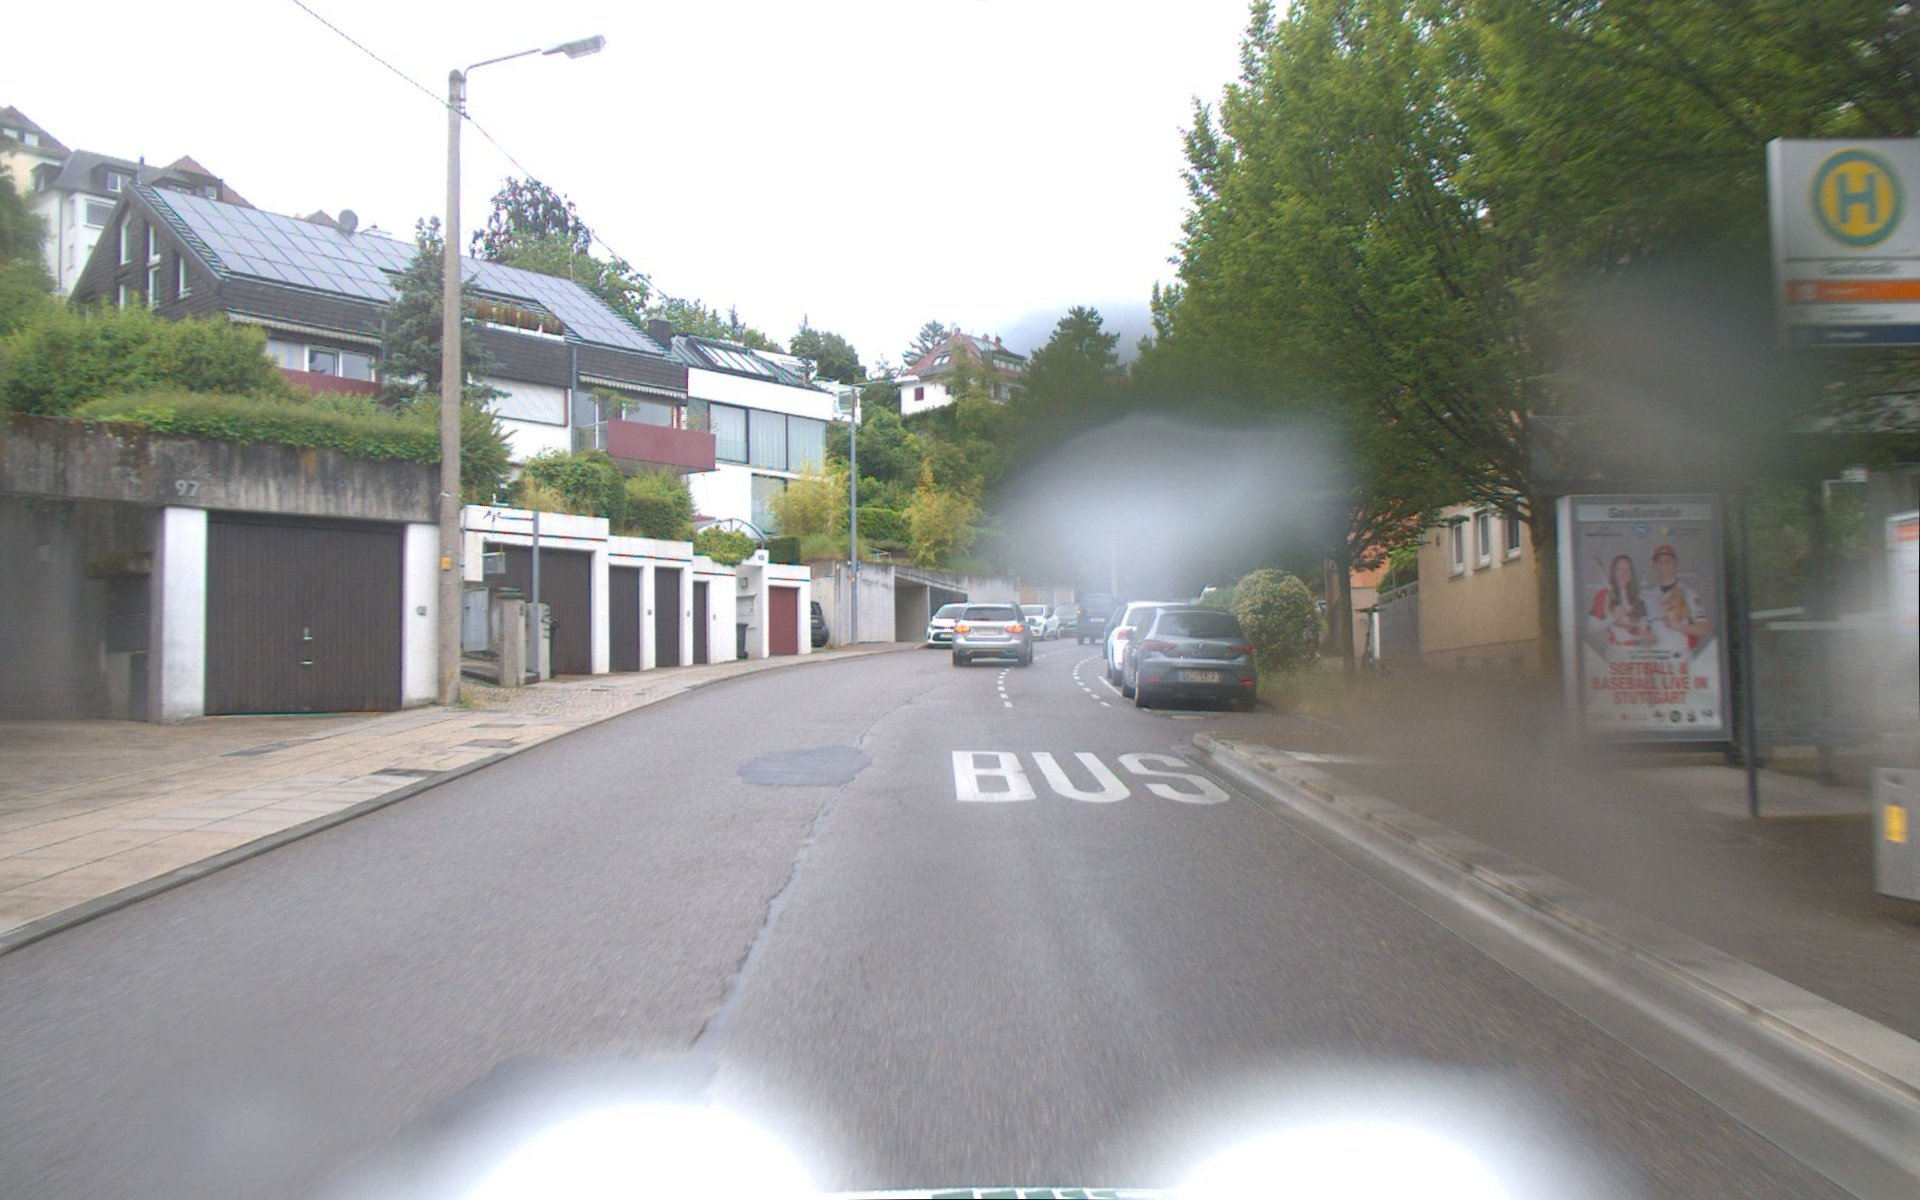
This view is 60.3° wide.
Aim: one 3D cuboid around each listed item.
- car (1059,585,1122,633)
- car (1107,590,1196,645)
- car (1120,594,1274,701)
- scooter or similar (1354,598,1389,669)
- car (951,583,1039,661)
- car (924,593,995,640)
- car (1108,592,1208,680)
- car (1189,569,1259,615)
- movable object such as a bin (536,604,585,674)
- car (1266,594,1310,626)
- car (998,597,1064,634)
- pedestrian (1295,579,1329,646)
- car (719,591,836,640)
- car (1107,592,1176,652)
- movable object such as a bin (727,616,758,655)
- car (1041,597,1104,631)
[{"bbox_3d":[4.880,0.317,61.450,1.951,1.738,4.003,0,0,10],"label":"car"},{"bbox_3d":[6.163,0.525,52.711,2.010,1.685,5.239,0,0,15],"label":"car"},{"bbox_3d":[3.474,0.650,24.992,1.839,1.441,4.469,0,0,2],"label":"car"},{"bbox_3d":[7.551,0.600,30.361,0.404,1.267,1.175,-1,0,3],"label":"scooter or similar"},{"bbox_3d":[0.821,0.490,39.290,1.983,1.738,4.216,0,0,1],"label":"car"},{"bbox_3d":[0.032,0.536,56.888,1.592,1.542,3.835,-1,0,13],"label":"car"},{"bbox_3d":[3.676,0.617,31.210,1.622,1.515,4.002,1,0,3],"label":"car"},{"bbox_3d":[15.744,-0.525,98.366,2.055,2.594,6.085,-1,0,30],"label":"car"},{"bbox_3d":[-6.754,0.660,27.998,0.519,1.166,0.597,0,-1,43],"label":"movable object such as a bin"},{"bbox_3d":[16.908,0.493,85.149,1.594,1.590,3.020,0,0,25],"label":"car"},{"bbox_3d":[2.971,0.629,68.363,1.793,1.465,4.042,-1,0,16],"label":"car"},{"bbox_3d":[9.382,0.325,44.100,0.744,1.750,0.903,-3,0,8],"label":"pedestrian"},{"bbox_3d":[-6.105,0.483,55.137,3.861,1.504,1.758,2,1,41],"label":"car"},{"bbox_3d":[5.186,0.592,46.841,1.815,1.608,4.862,0,0,8],"label":"car"},{"bbox_3d":[-5.718,0.930,43.498,0.534,0.980,0.643,0,0,39],"label":"movable object such as a bin"},{"bbox_3d":[5.138,0.614,74.840,1.677,1.485,4.684,-1,0,19],"label":"car"}]
